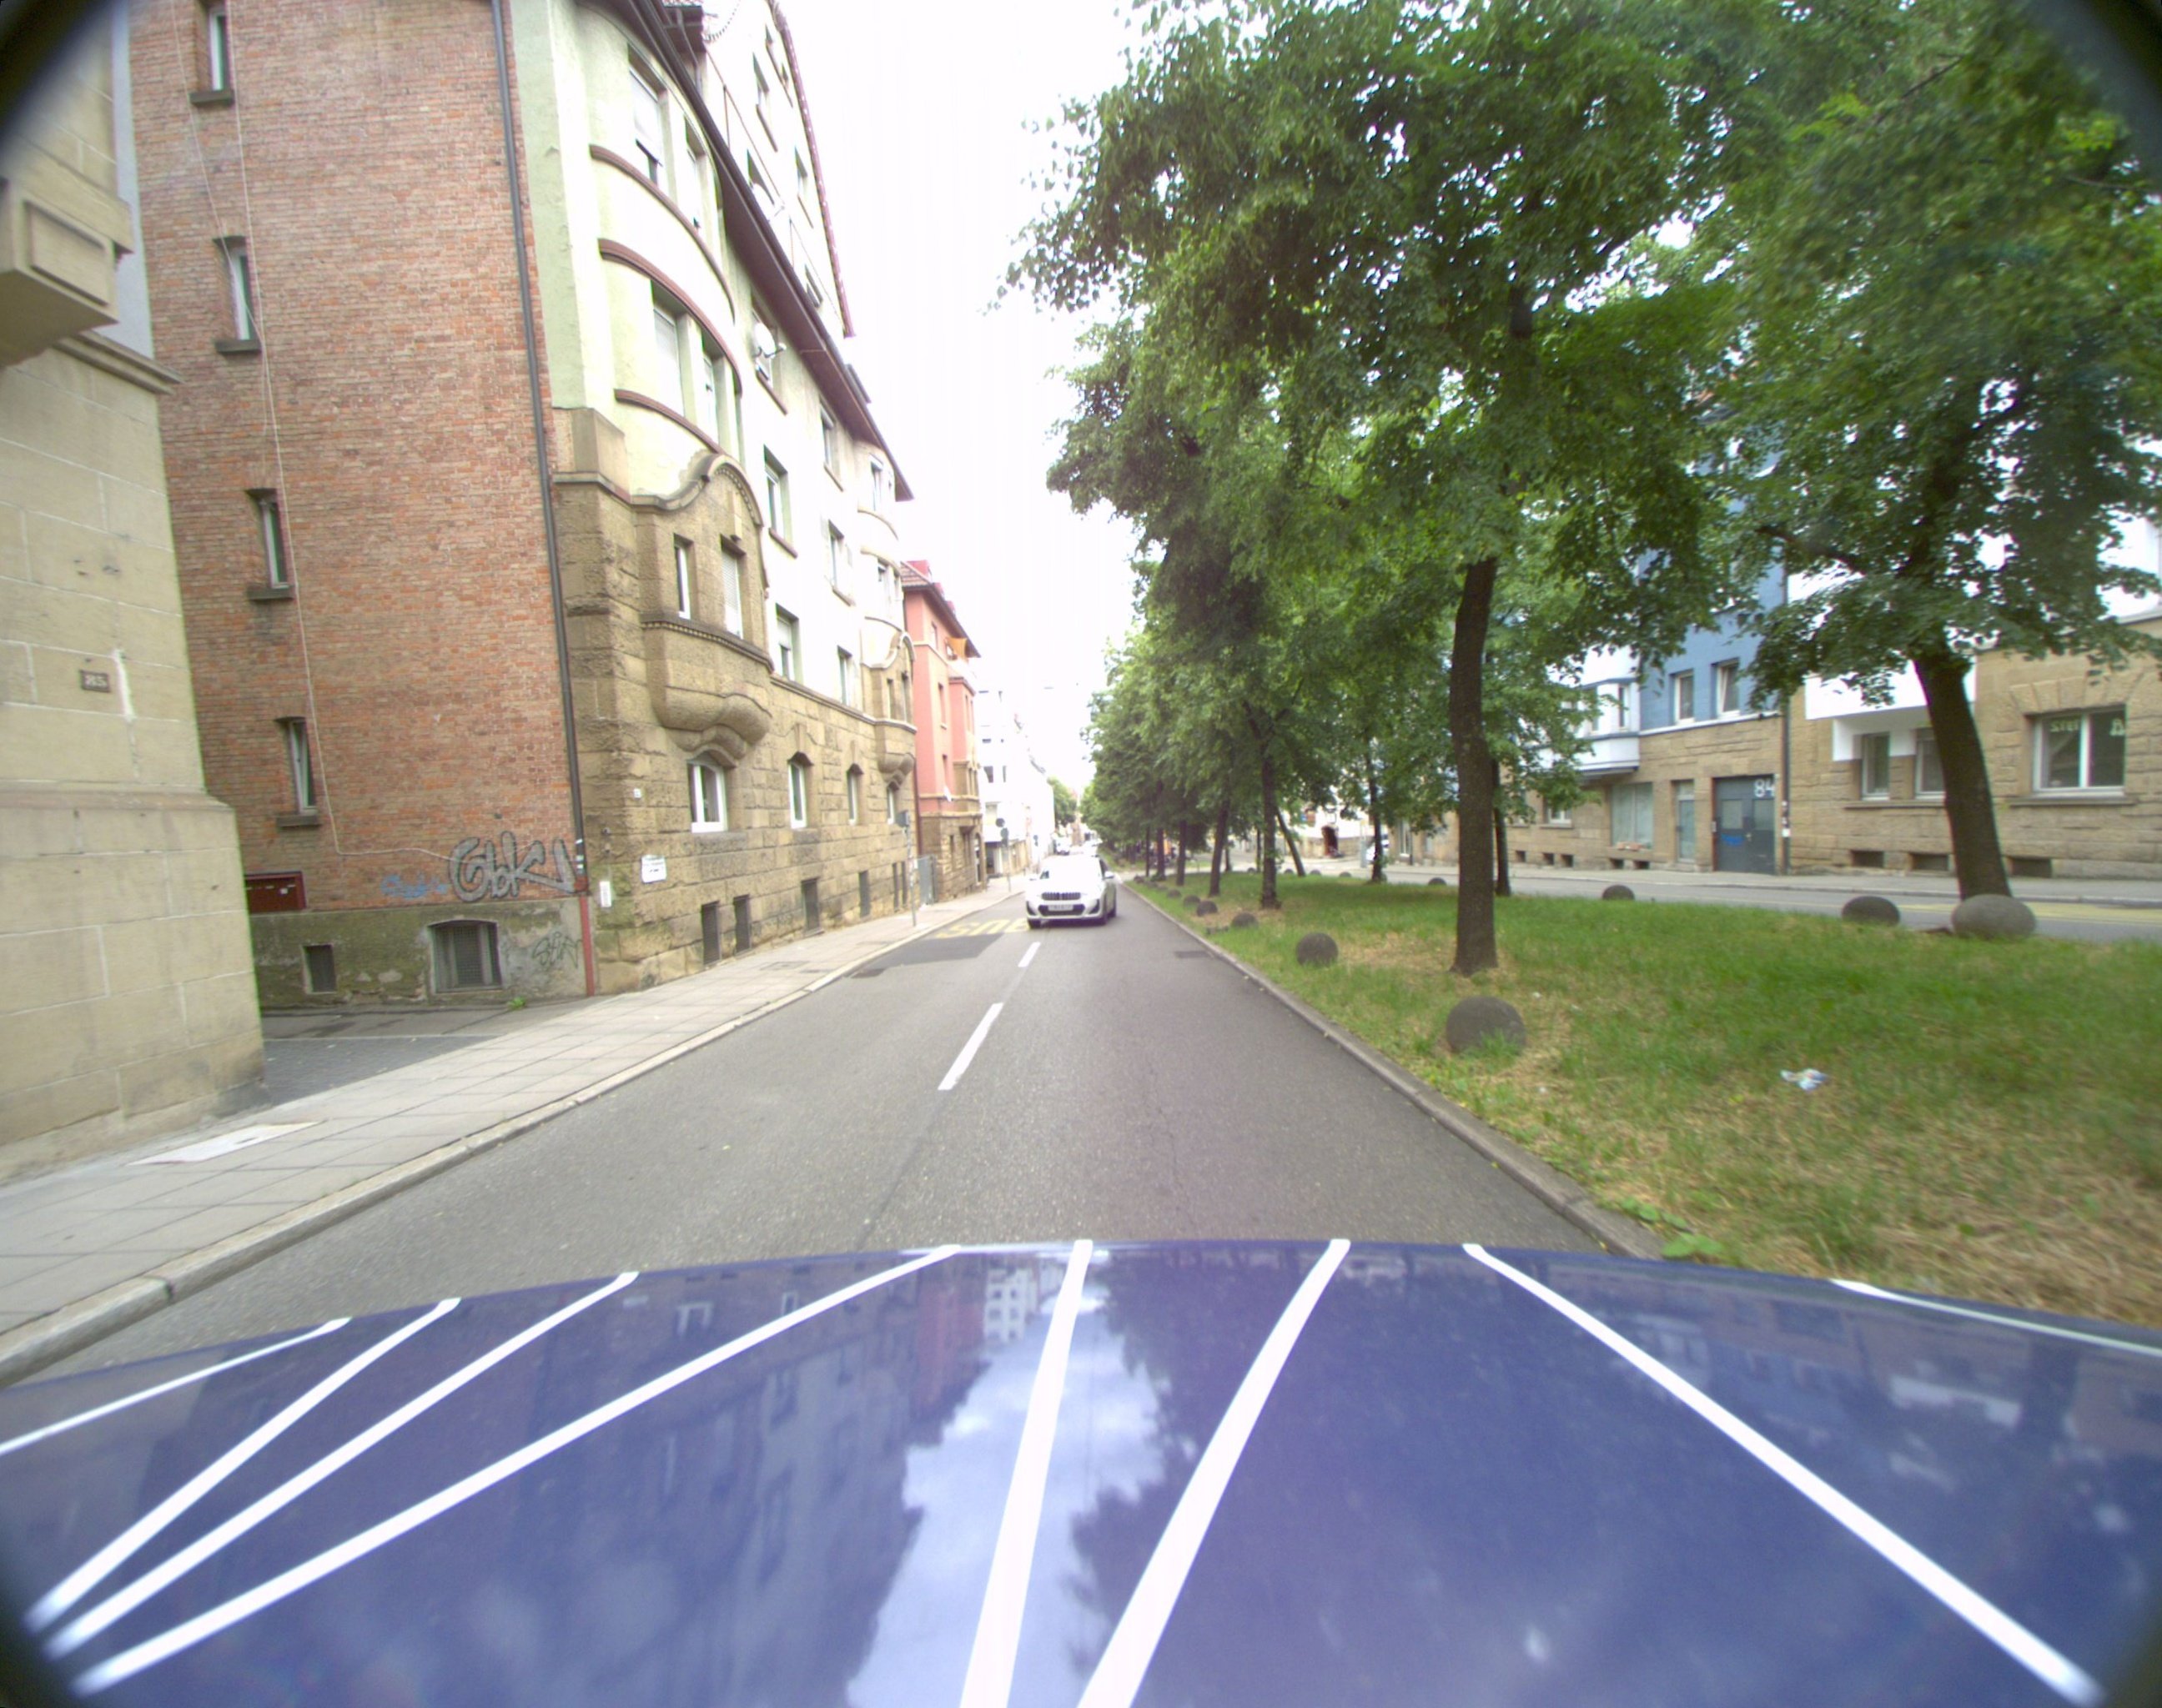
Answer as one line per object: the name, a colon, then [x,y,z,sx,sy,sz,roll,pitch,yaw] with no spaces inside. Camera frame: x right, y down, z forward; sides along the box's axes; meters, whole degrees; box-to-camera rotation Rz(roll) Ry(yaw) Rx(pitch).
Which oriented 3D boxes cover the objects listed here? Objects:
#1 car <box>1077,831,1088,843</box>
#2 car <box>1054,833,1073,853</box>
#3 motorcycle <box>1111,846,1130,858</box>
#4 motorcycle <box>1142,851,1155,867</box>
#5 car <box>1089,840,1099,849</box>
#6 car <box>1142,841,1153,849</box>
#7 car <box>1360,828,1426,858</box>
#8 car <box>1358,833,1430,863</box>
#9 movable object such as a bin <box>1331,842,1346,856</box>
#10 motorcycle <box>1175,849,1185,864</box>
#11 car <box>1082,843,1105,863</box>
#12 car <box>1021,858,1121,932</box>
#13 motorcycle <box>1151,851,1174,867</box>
car: [0.390,-4.765,206.758,3.026,3.045,7.165,-3,2,0]
car: [-2.834,-1.810,125.293,3.026,3.045,7.165,-3,2,0]
motorcycle: [4.512,-0.240,86.781,2.041,1.126,0.454,-4,4,1]
motorcycle: [5.559,0.376,62.543,0.888,1.090,2.481,-3,3,8]
car: [2.317,-1.690,133.040,1.783,1.420,4.281,-2,0,1]
car: [14.008,-1.994,160.483,1.818,1.554,4.415,-3,1,0]
car: [23.188,-0.829,56.535,4.007,1.690,1.871,-8,2,2]
car: [21.290,-0.427,51.719,4.007,1.462,1.870,-8,3,-2]
movable object such as a bin: [19.986,-0.360,59.048,0.888,0.988,0.668,-6,2,-1]
motorcycle: [8.171,0.216,62.482,0.750,1.068,1.851,-3,3,8]
car: [1.046,-0.105,67.721,1.854,1.616,4.281,-3,0,0]
car: [-0.112,0.925,19.185,1.853,1.595,4.566,-2,0,7]
motorcycle: [6.503,0.407,60.752,1.735,1.090,0.551,-4,4,4]
